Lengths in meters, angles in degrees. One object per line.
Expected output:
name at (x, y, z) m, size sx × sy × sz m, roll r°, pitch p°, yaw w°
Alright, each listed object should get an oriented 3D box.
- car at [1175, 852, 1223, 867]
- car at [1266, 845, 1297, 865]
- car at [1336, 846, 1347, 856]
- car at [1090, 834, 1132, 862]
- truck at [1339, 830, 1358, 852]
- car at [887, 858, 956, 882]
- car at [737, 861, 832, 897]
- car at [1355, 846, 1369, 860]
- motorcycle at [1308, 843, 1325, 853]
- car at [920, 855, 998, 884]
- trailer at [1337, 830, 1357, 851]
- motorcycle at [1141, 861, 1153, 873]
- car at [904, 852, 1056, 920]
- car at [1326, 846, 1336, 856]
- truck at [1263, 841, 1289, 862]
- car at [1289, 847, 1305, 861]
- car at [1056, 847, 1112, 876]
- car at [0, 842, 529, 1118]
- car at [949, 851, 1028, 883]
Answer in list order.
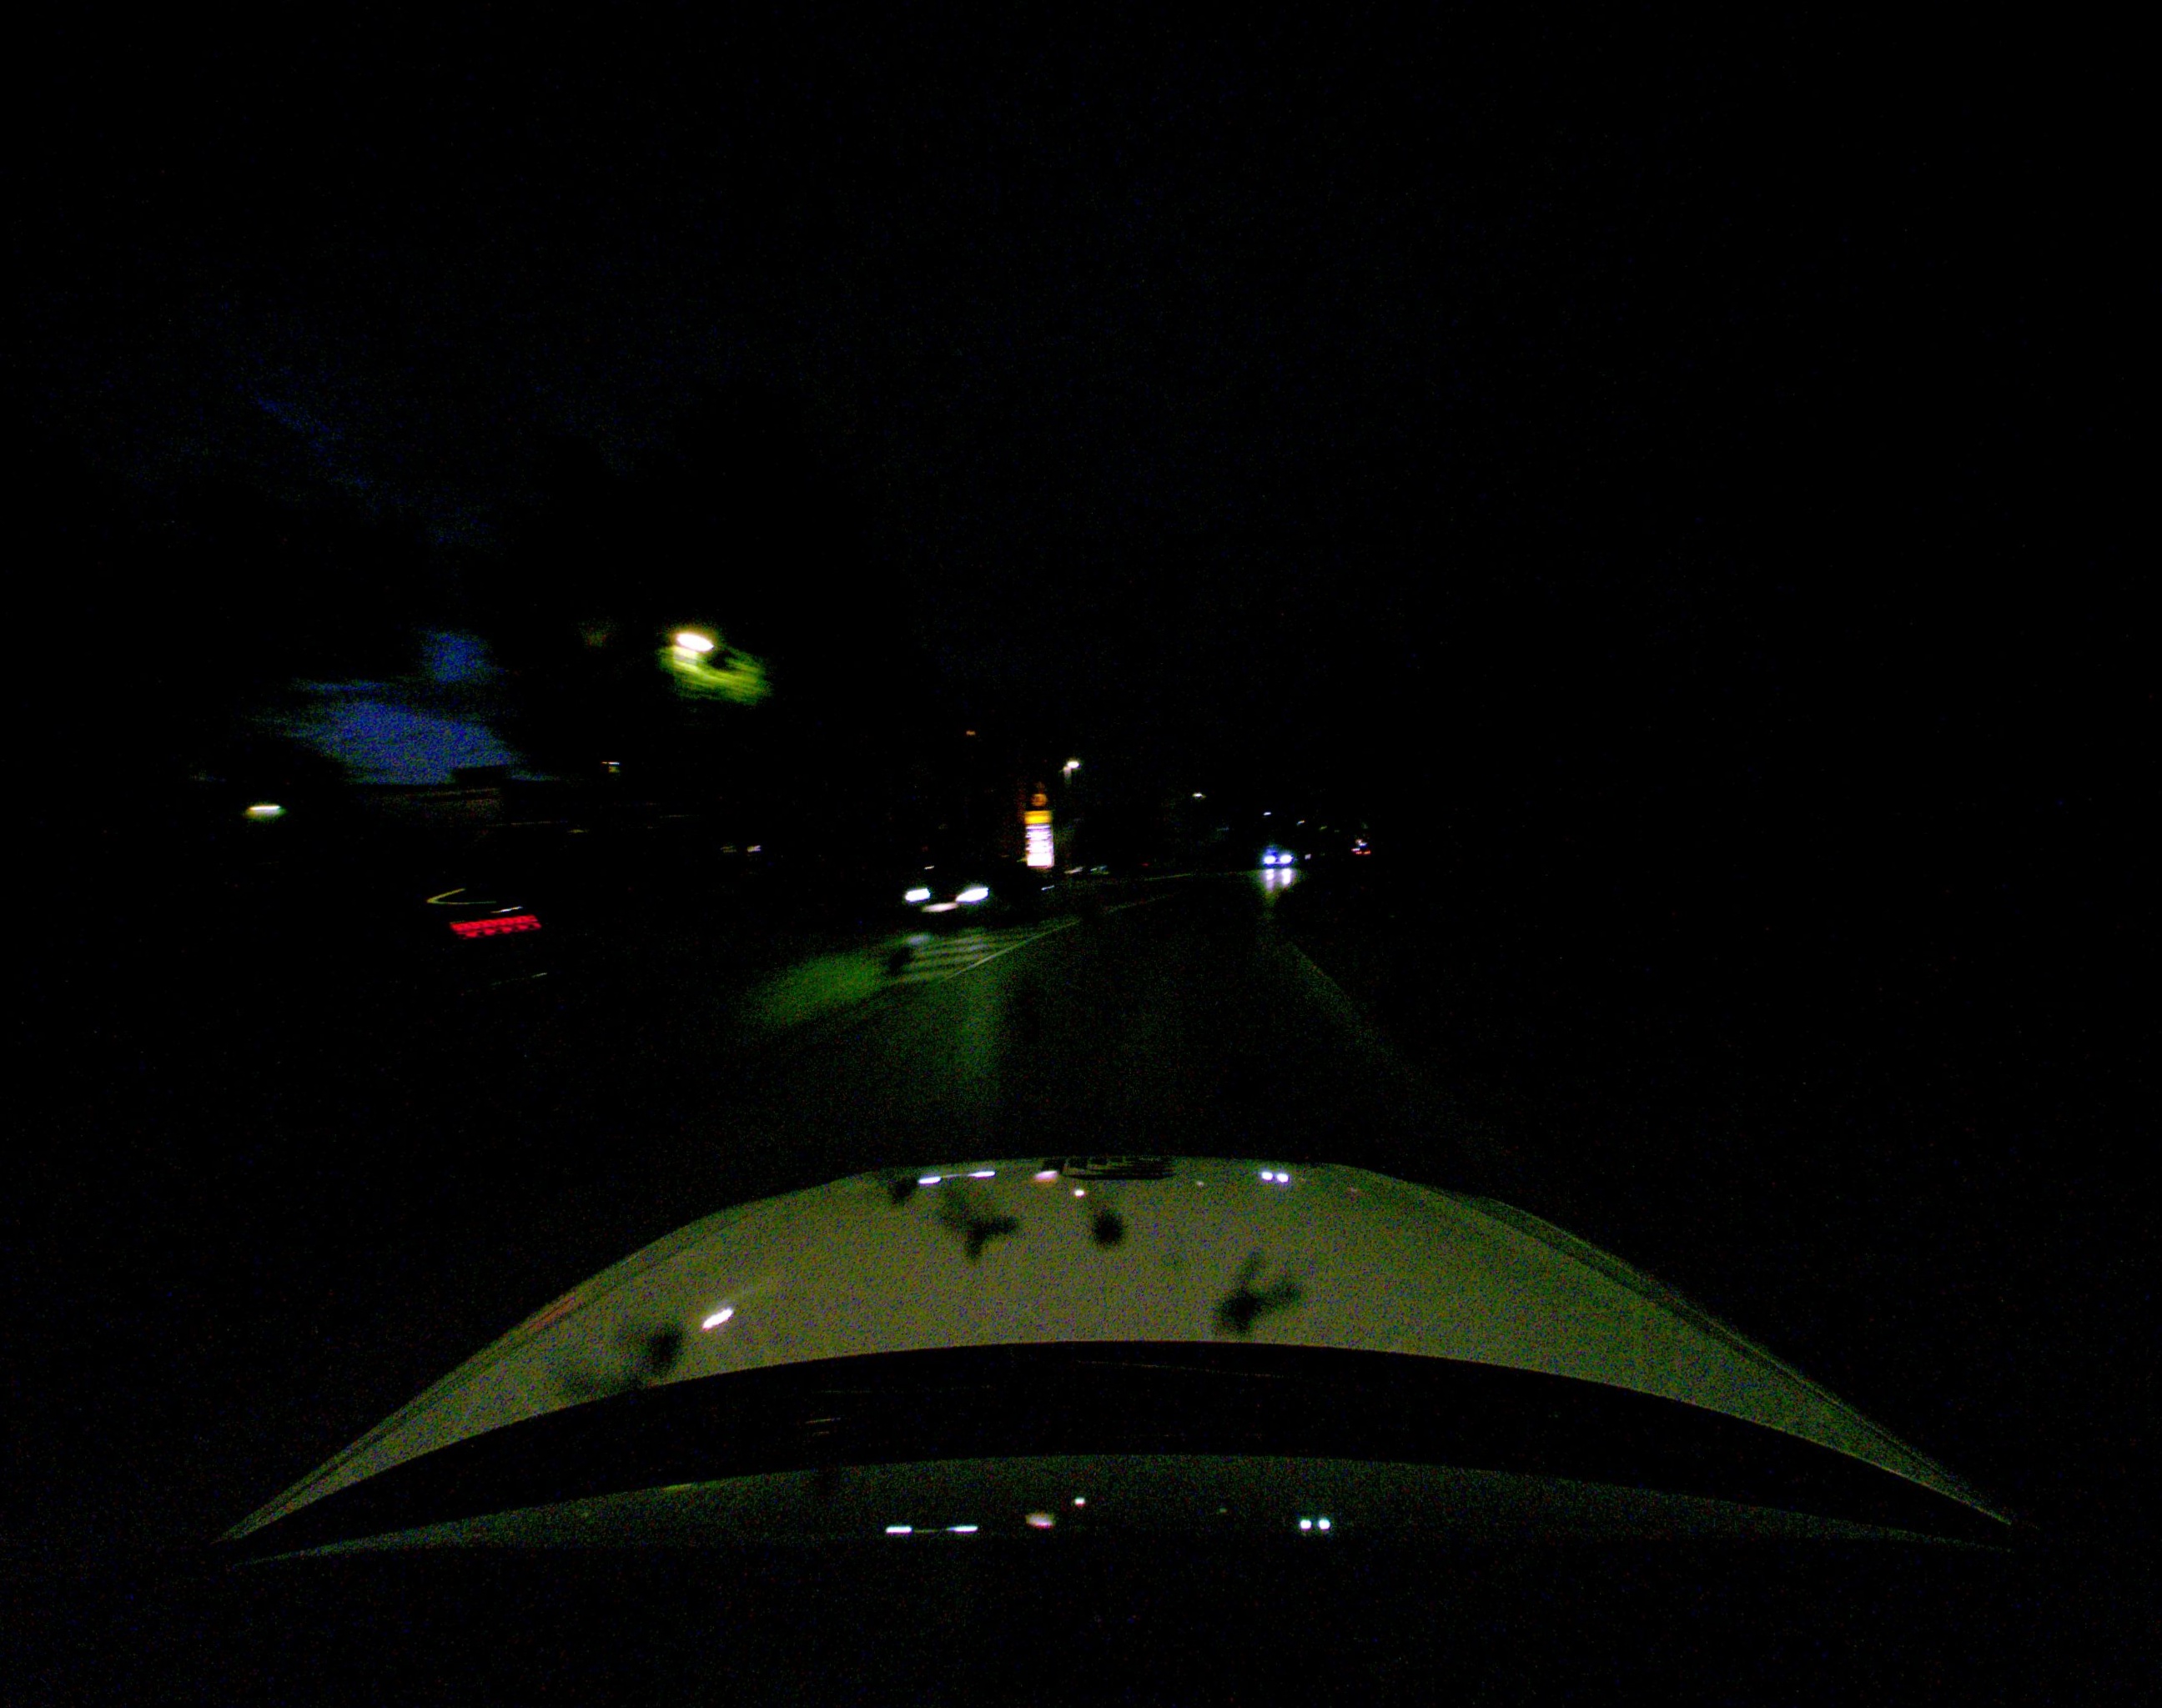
car at (11.447, 0.543, 78.736) m, size 4.313 × 1.359 × 1.651 m, roll -2°, pitch -1°, yaw 19°
car at (17.242, 0.051, 69.944) m, size 1.739 × 1.607 × 4.478 m, roll -3°, pitch 0°, yaw 24°
car at (51.909, -0.610, 162.404) m, size 1.978 × 1.897 × 4.017 m, roll -3°, pitch 1°, yaw 16°
car at (2.329, -0.499, 62.304) m, size 1.976 × 2.013 × 4.022 m, roll 1°, pitch 2°, yaw 22°
truck at (61.234, -3.002, 186.578) m, size 3.813 × 4.890 × 6.379 m, roll 1°, pitch 2°, yaw 14°
car at (-8.121, 0.797, 41.559) m, size 1.529 × 1.131 × 3.234 m, roll -1°, pitch 0°, yaw 38°
car at (-12.534, 1.049, 34.495) m, size 3.478 × 1.359 × 1.502 m, roll -3°, pitch -1°, yaw 14°
car at (45.417, -0.202, 131.605) m, size 1.977 × 2.013 × 4.021 m, roll -4°, pitch 0°, yaw 20°
motorcycle at (47.441, -1.203, 164.346) m, size 4.021 × 2.013 × 1.307 m, roll -2°, pitch 3°, yaw -41°
car at (-5.940, 0.751, 40.094) m, size 1.530 × 1.311 × 3.723 m, roll -1°, pitch 0°, yaw 39°
trailer at (62.475, -3.256, 191.452) m, size 3.813 × 4.890 × 10.852 m, roll 1°, pitch 2°, yaw 14°
motorcycle at (6.505, 1.249, 80.513) m, size 0.979 × 1.144 × 1.855 m, roll -1°, pitch 0°, yaw 12°
car at (-2.235, 0.685, 19.423) m, size 1.745 × 1.403 × 4.608 m, roll -1°, pitch 0°, yaw 18°
car at (46.330, -0.542, 151.068) m, size 1.711 × 1.739 × 3.824 m, roll -2°, pitch -1°, yaw 17°
truck at (21.214, -0.278, 88.404) m, size 2.230 × 2.129 × 6.007 m, roll -3°, pitch -1°, yaw 18°
car at (26.918, -0.024, 101.491) m, size 1.704 × 1.618 × 3.856 m, roll -2°, pitch 0°, yaw 17°
car at (0.249, 0.401, 47.216) m, size 1.740 × 1.607 × 4.476 m, roll -1°, pitch 0°, yaw 22°
car at (-6.334, 0.672, 5.351) m, size 1.748 × 1.445 × 4.541 m, roll -1°, pitch 0°, yaw 11°
car at (-4.347, 0.588, 38.845) m, size 1.529 × 1.420 × 3.723 m, roll -1°, pitch 0°, yaw 39°
